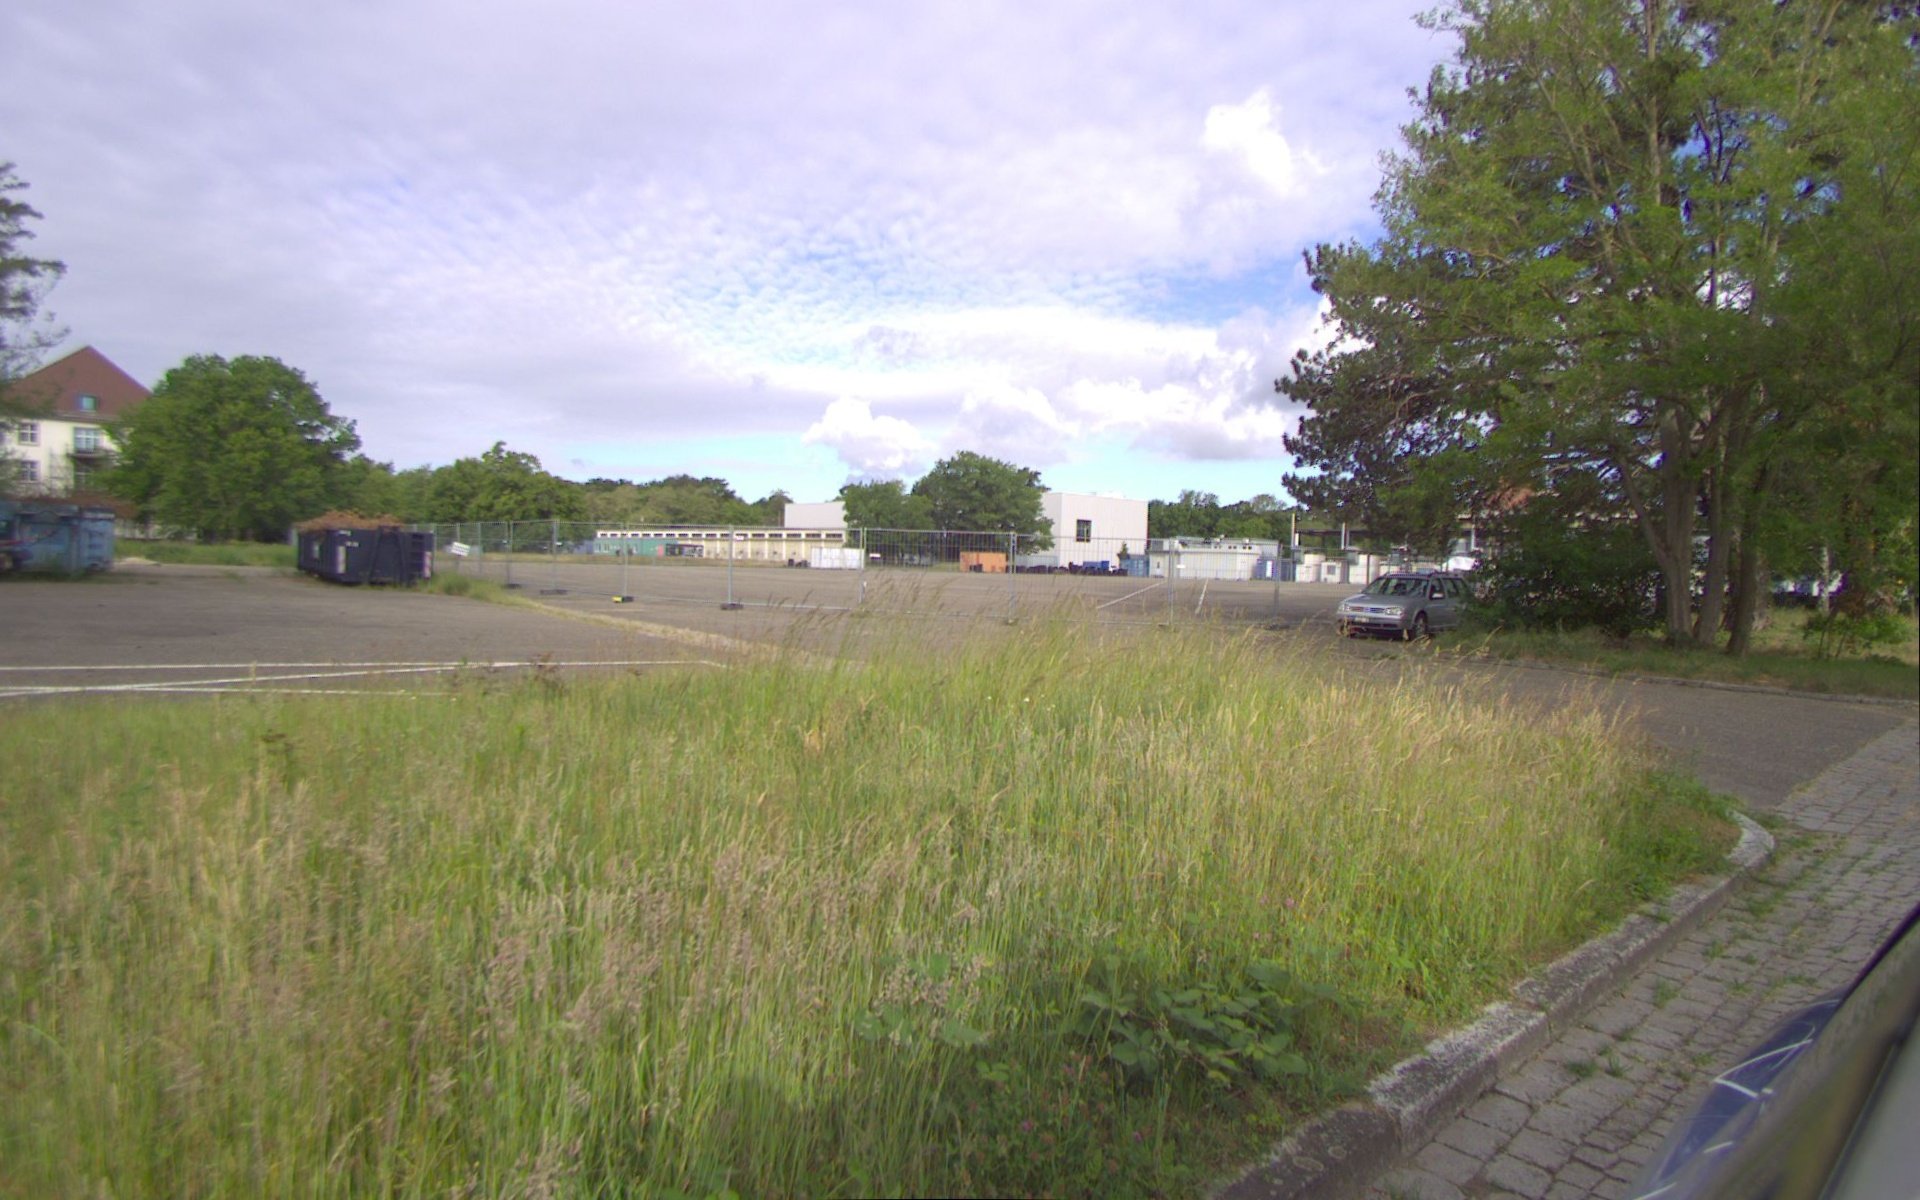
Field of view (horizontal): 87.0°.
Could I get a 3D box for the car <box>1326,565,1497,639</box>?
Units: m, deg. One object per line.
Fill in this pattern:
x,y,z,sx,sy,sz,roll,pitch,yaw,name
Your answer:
10.161,0.011,22.652,4.250,1.466,1.759,0,3,-40,car

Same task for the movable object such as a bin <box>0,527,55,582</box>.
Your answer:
-20.573,-0.987,21.113,2.499,1.097,1.064,1,2,-42,movable object such as a bin
